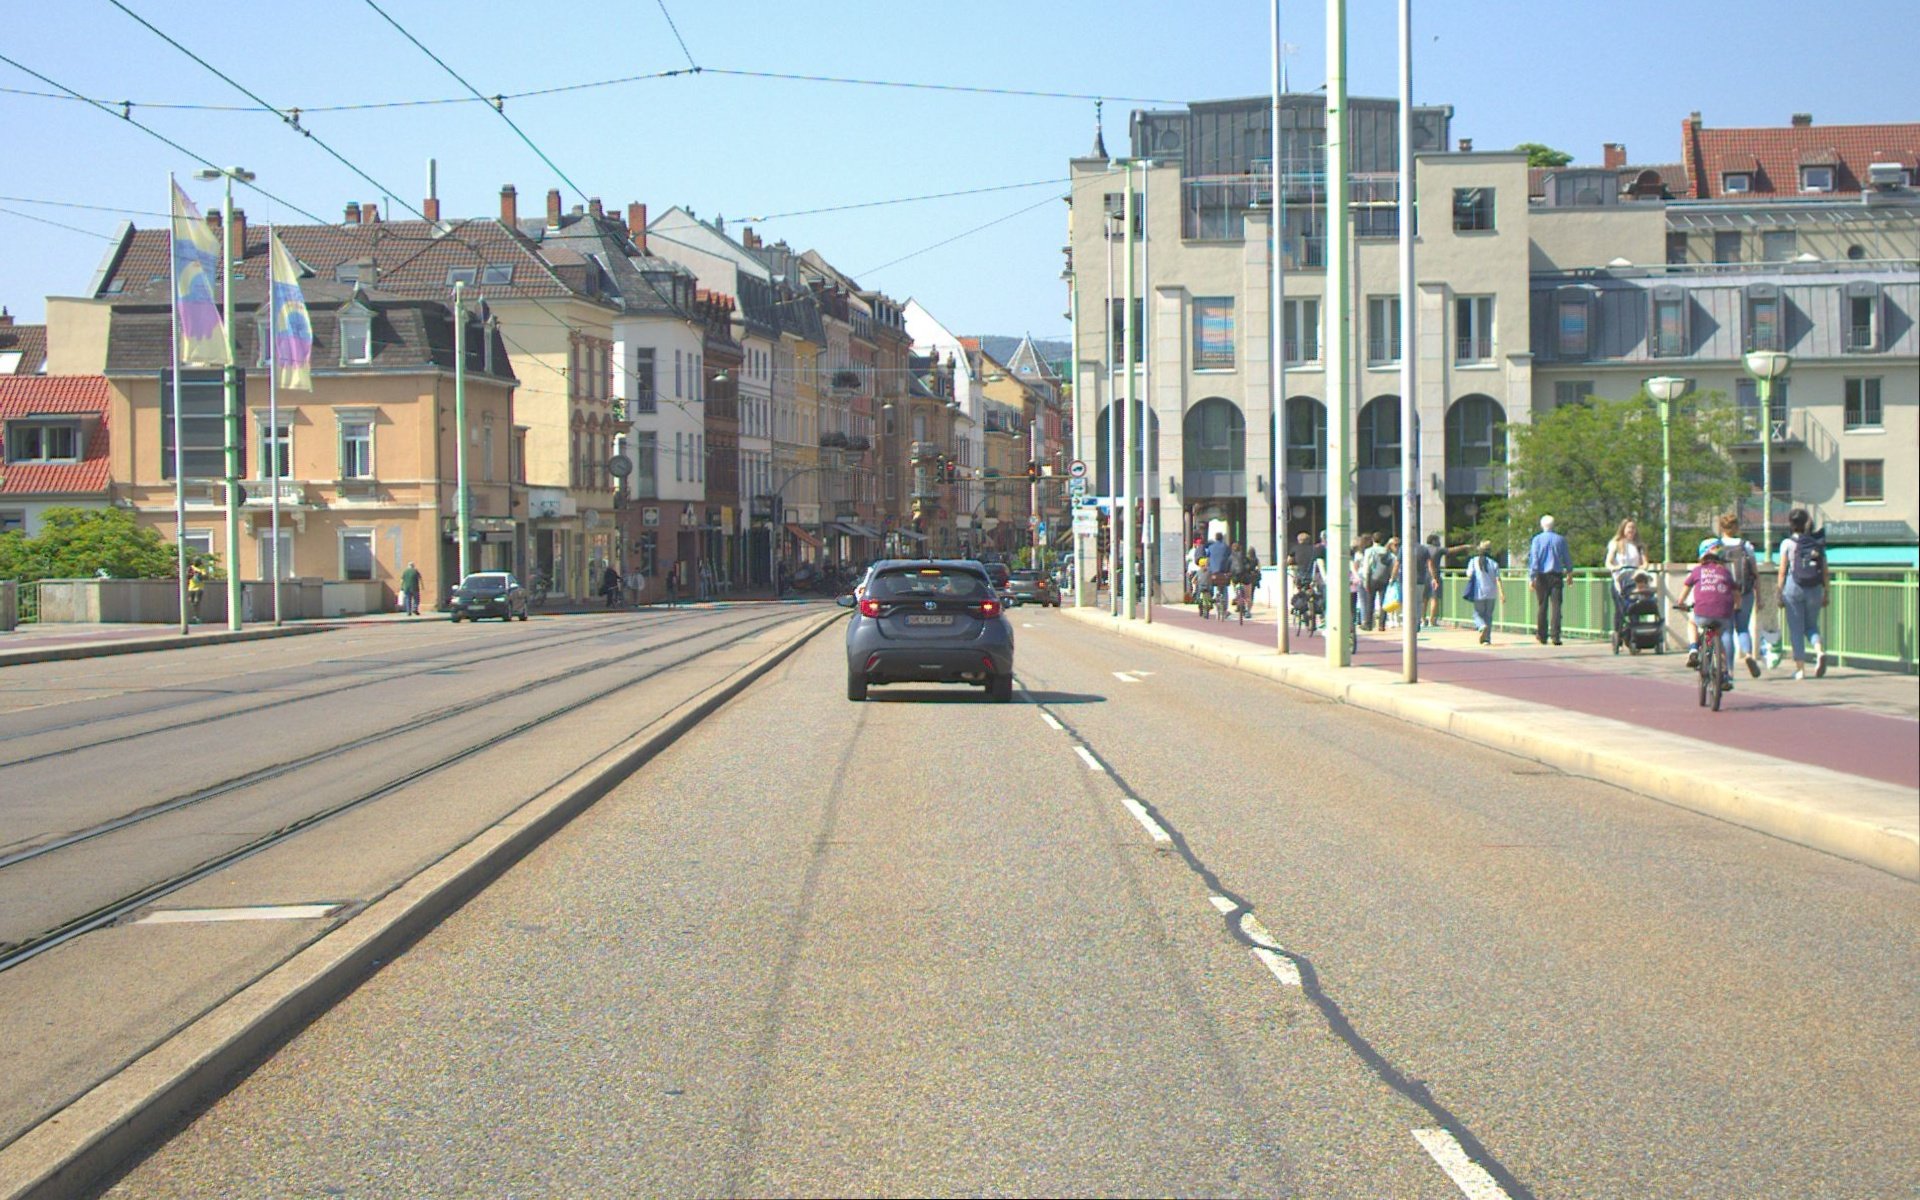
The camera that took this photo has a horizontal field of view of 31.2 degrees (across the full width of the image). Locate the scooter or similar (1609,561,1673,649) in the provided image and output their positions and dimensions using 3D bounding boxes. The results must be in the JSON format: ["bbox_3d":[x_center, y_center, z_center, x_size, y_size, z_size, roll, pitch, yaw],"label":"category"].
[{"bbox_3d":[8.439,0.055,42.607,0.588,1.065,0.865,0,1,-3],"label":"scooter or similar"}]

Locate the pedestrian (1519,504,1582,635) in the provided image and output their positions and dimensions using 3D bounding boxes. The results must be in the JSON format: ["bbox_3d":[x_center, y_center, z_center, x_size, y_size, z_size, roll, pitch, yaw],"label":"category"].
[{"bbox_3d":[8.268,-0.431,48.159,0.712,1.804,0.848,0,1,-1],"label":"pedestrian"}]

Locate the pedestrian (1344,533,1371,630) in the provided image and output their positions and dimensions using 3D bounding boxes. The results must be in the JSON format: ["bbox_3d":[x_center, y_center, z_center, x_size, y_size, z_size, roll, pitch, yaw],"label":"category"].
[{"bbox_3d":[7.401,-0.349,64.035,0.367,1.788,0.604,2,0,-1],"label":"pedestrian"}]

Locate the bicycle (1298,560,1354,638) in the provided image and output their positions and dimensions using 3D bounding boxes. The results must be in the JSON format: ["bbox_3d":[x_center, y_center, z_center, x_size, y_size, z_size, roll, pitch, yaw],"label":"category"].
[{"bbox_3d":[5.754,-0.027,54.071,0.593,1.174,1.940,0,1,-2],"label":"bicycle"}]

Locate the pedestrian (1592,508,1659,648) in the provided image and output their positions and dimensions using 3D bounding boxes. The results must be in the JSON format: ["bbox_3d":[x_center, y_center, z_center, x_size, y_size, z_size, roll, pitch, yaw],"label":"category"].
[{"bbox_3d":[8.416,-0.287,43.477,0.641,1.750,0.867,0,1,-3],"label":"pedestrian"}]

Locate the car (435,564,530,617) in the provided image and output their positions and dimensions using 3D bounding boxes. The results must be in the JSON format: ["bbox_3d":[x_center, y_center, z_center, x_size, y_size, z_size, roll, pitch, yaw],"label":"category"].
[{"bbox_3d":[-13.973,-0.298,100.720,1.994,1.474,4.000,0,1,4],"label":"car"}]

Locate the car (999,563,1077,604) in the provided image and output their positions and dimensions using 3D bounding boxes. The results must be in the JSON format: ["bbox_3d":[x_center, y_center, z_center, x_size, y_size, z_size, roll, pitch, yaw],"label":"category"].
[{"bbox_3d":[3.075,-0.677,135.458,1.806,1.464,3.996,-2,1,21],"label":"car"}]

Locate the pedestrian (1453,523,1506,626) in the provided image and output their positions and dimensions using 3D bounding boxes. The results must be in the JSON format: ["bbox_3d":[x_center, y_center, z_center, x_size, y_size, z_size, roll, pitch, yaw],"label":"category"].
[{"bbox_3d":[7.443,-0.365,49.282,0.613,1.460,0.848,0,1,-1],"label":"pedestrian"}]

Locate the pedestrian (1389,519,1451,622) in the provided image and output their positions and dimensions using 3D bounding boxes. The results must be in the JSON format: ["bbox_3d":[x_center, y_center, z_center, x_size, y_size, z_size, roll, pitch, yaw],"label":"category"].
[{"bbox_3d":[7.916,-0.518,59.207,0.929,1.755,0.938,0,1,-1],"label":"pedestrian"}]

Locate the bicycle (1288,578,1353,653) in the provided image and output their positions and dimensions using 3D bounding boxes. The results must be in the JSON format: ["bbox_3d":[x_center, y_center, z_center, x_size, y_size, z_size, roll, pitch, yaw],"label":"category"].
[{"bbox_3d":[4.950,0.198,47.344,0.653,0.978,2.178,-2,0,1],"label":"bicycle"}]

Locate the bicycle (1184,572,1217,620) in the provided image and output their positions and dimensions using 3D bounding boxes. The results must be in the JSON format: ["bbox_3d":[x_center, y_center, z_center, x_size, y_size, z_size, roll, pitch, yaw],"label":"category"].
[{"bbox_3d":[5.493,-0.104,78.588,0.666,1.046,2.029,0,1,2],"label":"bicycle"}]

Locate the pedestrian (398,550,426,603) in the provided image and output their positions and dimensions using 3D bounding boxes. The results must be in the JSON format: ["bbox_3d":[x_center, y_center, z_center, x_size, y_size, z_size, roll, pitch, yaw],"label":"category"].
[{"bbox_3d":[-17.254,-0.746,108.268,0.763,1.659,0.663,0,1,2],"label":"pedestrian"}]

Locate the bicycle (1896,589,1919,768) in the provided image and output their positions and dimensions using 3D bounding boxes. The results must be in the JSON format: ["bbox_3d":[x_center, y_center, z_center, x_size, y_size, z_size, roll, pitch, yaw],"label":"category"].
[{"bbox_3d":[5.914,0.472,19.408,0.618,1.034,2.051,0,1,-3],"label":"bicycle"}]

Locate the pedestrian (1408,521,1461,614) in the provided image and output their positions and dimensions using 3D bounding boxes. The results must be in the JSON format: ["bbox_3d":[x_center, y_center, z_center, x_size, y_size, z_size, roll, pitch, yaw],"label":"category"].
[{"bbox_3d":[8.753,-0.603,63.400,0.834,1.683,0.869,0,1,-1],"label":"pedestrian"}]

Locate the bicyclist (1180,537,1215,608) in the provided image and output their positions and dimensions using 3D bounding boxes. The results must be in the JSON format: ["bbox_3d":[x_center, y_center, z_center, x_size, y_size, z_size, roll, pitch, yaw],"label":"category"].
[{"bbox_3d":[5.649,-0.653,81.930,0.796,1.670,0.869,0,1,2],"label":"bicyclist"}]

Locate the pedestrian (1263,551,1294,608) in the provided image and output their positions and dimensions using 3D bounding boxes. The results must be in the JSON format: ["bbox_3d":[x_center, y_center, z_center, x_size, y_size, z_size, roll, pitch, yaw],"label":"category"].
[{"bbox_3d":[8.220,-0.527,88.714,0.656,1.446,0.645,-1,1,-6],"label":"pedestrian"}]

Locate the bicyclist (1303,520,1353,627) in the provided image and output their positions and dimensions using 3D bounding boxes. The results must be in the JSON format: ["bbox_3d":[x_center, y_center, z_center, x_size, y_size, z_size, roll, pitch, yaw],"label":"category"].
[{"bbox_3d":[5.771,-0.423,53.995,0.656,1.670,0.869,0,1,-2],"label":"bicyclist"}]

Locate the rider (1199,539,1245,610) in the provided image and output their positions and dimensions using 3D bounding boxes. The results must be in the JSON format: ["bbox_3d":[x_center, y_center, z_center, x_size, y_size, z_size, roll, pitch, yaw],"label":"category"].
[{"bbox_3d":[5.626,-0.555,73.791,0.889,1.499,0.841,0,1,-2],"label":"rider"}]

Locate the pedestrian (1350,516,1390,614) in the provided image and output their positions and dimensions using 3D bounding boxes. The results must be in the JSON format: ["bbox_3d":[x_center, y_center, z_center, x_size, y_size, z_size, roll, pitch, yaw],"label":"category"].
[{"bbox_3d":[7.428,-0.641,62.308,0.528,1.742,0.728,-3,0,-1],"label":"pedestrian"}]

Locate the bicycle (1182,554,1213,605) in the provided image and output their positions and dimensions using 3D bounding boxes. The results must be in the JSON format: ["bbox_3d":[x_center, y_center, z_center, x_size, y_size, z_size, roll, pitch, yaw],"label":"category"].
[{"bbox_3d":[5.646,-0.505,81.867,0.666,1.174,2.029,0,1,2],"label":"bicycle"}]

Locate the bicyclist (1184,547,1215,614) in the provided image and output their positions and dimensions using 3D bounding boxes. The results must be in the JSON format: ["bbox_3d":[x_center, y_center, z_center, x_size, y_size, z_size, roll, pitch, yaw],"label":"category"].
[{"bbox_3d":[5.486,-0.456,78.759,0.651,1.524,0.975,0,1,2],"label":"bicyclist"}]

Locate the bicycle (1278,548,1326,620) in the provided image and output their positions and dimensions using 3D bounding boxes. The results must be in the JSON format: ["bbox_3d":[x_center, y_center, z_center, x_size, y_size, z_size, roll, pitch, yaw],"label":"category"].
[{"bbox_3d":[5.725,-0.277,57.669,0.526,1.174,2.029,0,1,-2],"label":"bicycle"}]

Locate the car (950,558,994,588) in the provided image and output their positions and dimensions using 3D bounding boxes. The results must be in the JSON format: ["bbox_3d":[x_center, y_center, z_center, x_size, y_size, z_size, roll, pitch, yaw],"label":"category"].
[{"bbox_3d":[0.593,-1.324,167.810,1.878,1.404,4.000,0,1,4],"label":"car"}]

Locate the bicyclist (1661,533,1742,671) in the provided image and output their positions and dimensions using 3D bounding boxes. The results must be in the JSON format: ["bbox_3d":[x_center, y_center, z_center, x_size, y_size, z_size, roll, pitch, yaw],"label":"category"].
[{"bbox_3d":[6.015,0.007,27.915,0.599,1.098,0.852,0,1,9],"label":"bicyclist"}]

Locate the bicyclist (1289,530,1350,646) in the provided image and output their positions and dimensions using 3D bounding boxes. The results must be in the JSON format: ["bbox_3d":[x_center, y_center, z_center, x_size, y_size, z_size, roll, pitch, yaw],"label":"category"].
[{"bbox_3d":[4.936,-0.169,47.277,0.653,1.561,1.338,-2,0,1],"label":"bicyclist"}]

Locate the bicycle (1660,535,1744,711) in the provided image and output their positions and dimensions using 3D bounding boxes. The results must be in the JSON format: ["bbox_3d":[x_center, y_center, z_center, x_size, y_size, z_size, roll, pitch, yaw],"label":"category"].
[{"bbox_3d":[6.020,0.164,27.943,0.534,1.362,2.215,0,1,9],"label":"bicycle"}]

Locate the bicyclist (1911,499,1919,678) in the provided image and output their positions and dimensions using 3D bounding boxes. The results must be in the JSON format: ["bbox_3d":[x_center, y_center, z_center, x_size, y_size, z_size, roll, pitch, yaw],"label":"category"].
[{"bbox_3d":[5.904,-0.058,19.339,0.735,1.027,1.175,0,1,-3],"label":"bicyclist"}]

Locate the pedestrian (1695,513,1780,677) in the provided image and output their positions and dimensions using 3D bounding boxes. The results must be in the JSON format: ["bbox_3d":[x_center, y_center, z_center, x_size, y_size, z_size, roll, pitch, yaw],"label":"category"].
[{"bbox_3d":[7.589,-0.057,33.579,0.599,1.580,0.867,0,1,-3],"label":"pedestrian"}]

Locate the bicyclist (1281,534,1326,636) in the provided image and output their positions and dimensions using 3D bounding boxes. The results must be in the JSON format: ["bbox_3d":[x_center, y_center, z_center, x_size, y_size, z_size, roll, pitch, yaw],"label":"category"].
[{"bbox_3d":[5.749,-0.253,57.644,0.627,1.683,0.869,0,1,-2],"label":"bicyclist"}]

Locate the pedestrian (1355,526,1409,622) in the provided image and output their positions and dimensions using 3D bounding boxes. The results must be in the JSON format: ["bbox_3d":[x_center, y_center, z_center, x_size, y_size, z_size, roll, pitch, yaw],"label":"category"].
[{"bbox_3d":[7.453,-0.464,60.775,0.834,1.683,0.869,0,1,-1],"label":"pedestrian"}]

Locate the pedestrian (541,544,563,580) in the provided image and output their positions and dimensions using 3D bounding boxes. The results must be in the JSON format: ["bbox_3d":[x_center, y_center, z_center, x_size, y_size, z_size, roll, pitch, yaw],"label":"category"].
[{"bbox_3d":[-16.013,-1.506,134.845,0.763,1.393,0.663,0,1,2],"label":"pedestrian"}]

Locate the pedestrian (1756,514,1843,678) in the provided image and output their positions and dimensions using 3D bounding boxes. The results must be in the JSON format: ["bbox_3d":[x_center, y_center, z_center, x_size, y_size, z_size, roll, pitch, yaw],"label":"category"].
[{"bbox_3d":[8.198,-0.048,33.606,0.599,1.580,0.867,0,1,-3],"label":"pedestrian"}]

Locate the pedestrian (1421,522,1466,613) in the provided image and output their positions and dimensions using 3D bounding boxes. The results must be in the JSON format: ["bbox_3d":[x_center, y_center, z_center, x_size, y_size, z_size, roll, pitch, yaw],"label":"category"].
[{"bbox_3d":[8.793,-0.592,62.516,0.712,1.645,0.848,0,1,1],"label":"pedestrian"}]

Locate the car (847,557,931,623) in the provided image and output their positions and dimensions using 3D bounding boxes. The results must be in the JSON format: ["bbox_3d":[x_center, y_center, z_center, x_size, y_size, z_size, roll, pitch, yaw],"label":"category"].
[{"bbox_3d":[-1.735,-0.263,82.573,1.803,1.464,4.001,-2,1,-4],"label":"car"}]

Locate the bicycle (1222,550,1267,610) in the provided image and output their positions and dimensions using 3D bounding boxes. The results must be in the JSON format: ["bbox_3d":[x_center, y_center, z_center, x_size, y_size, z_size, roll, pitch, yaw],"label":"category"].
[{"bbox_3d":[5.761,-0.413,69.745,0.666,1.174,2.029,0,1,-2],"label":"bicycle"}]

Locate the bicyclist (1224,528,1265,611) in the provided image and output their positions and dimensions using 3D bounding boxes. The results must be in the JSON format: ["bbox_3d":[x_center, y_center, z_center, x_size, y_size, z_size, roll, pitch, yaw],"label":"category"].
[{"bbox_3d":[5.760,-0.629,69.698,0.715,1.670,0.869,0,1,-2],"label":"bicyclist"}]

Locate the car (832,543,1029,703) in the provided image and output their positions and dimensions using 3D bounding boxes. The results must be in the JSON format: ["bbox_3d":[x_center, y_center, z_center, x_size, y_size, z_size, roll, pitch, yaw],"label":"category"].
[{"bbox_3d":[-0.374,0.203,37.064,1.910,1.535,4.001,1,2,-3],"label":"car"}]

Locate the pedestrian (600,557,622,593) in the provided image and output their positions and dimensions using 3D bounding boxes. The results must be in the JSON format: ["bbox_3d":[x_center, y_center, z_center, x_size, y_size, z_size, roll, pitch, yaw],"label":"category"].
[{"bbox_3d":[-13.524,-0.972,133.358,0.763,1.393,0.663,0,1,2],"label":"pedestrian"}]

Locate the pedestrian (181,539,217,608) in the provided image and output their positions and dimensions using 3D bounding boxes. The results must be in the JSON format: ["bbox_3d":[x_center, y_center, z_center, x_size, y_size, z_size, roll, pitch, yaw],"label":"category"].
[{"bbox_3d":[-19.882,-0.704,89.878,0.763,1.780,0.663,0,1,2],"label":"pedestrian"}]
